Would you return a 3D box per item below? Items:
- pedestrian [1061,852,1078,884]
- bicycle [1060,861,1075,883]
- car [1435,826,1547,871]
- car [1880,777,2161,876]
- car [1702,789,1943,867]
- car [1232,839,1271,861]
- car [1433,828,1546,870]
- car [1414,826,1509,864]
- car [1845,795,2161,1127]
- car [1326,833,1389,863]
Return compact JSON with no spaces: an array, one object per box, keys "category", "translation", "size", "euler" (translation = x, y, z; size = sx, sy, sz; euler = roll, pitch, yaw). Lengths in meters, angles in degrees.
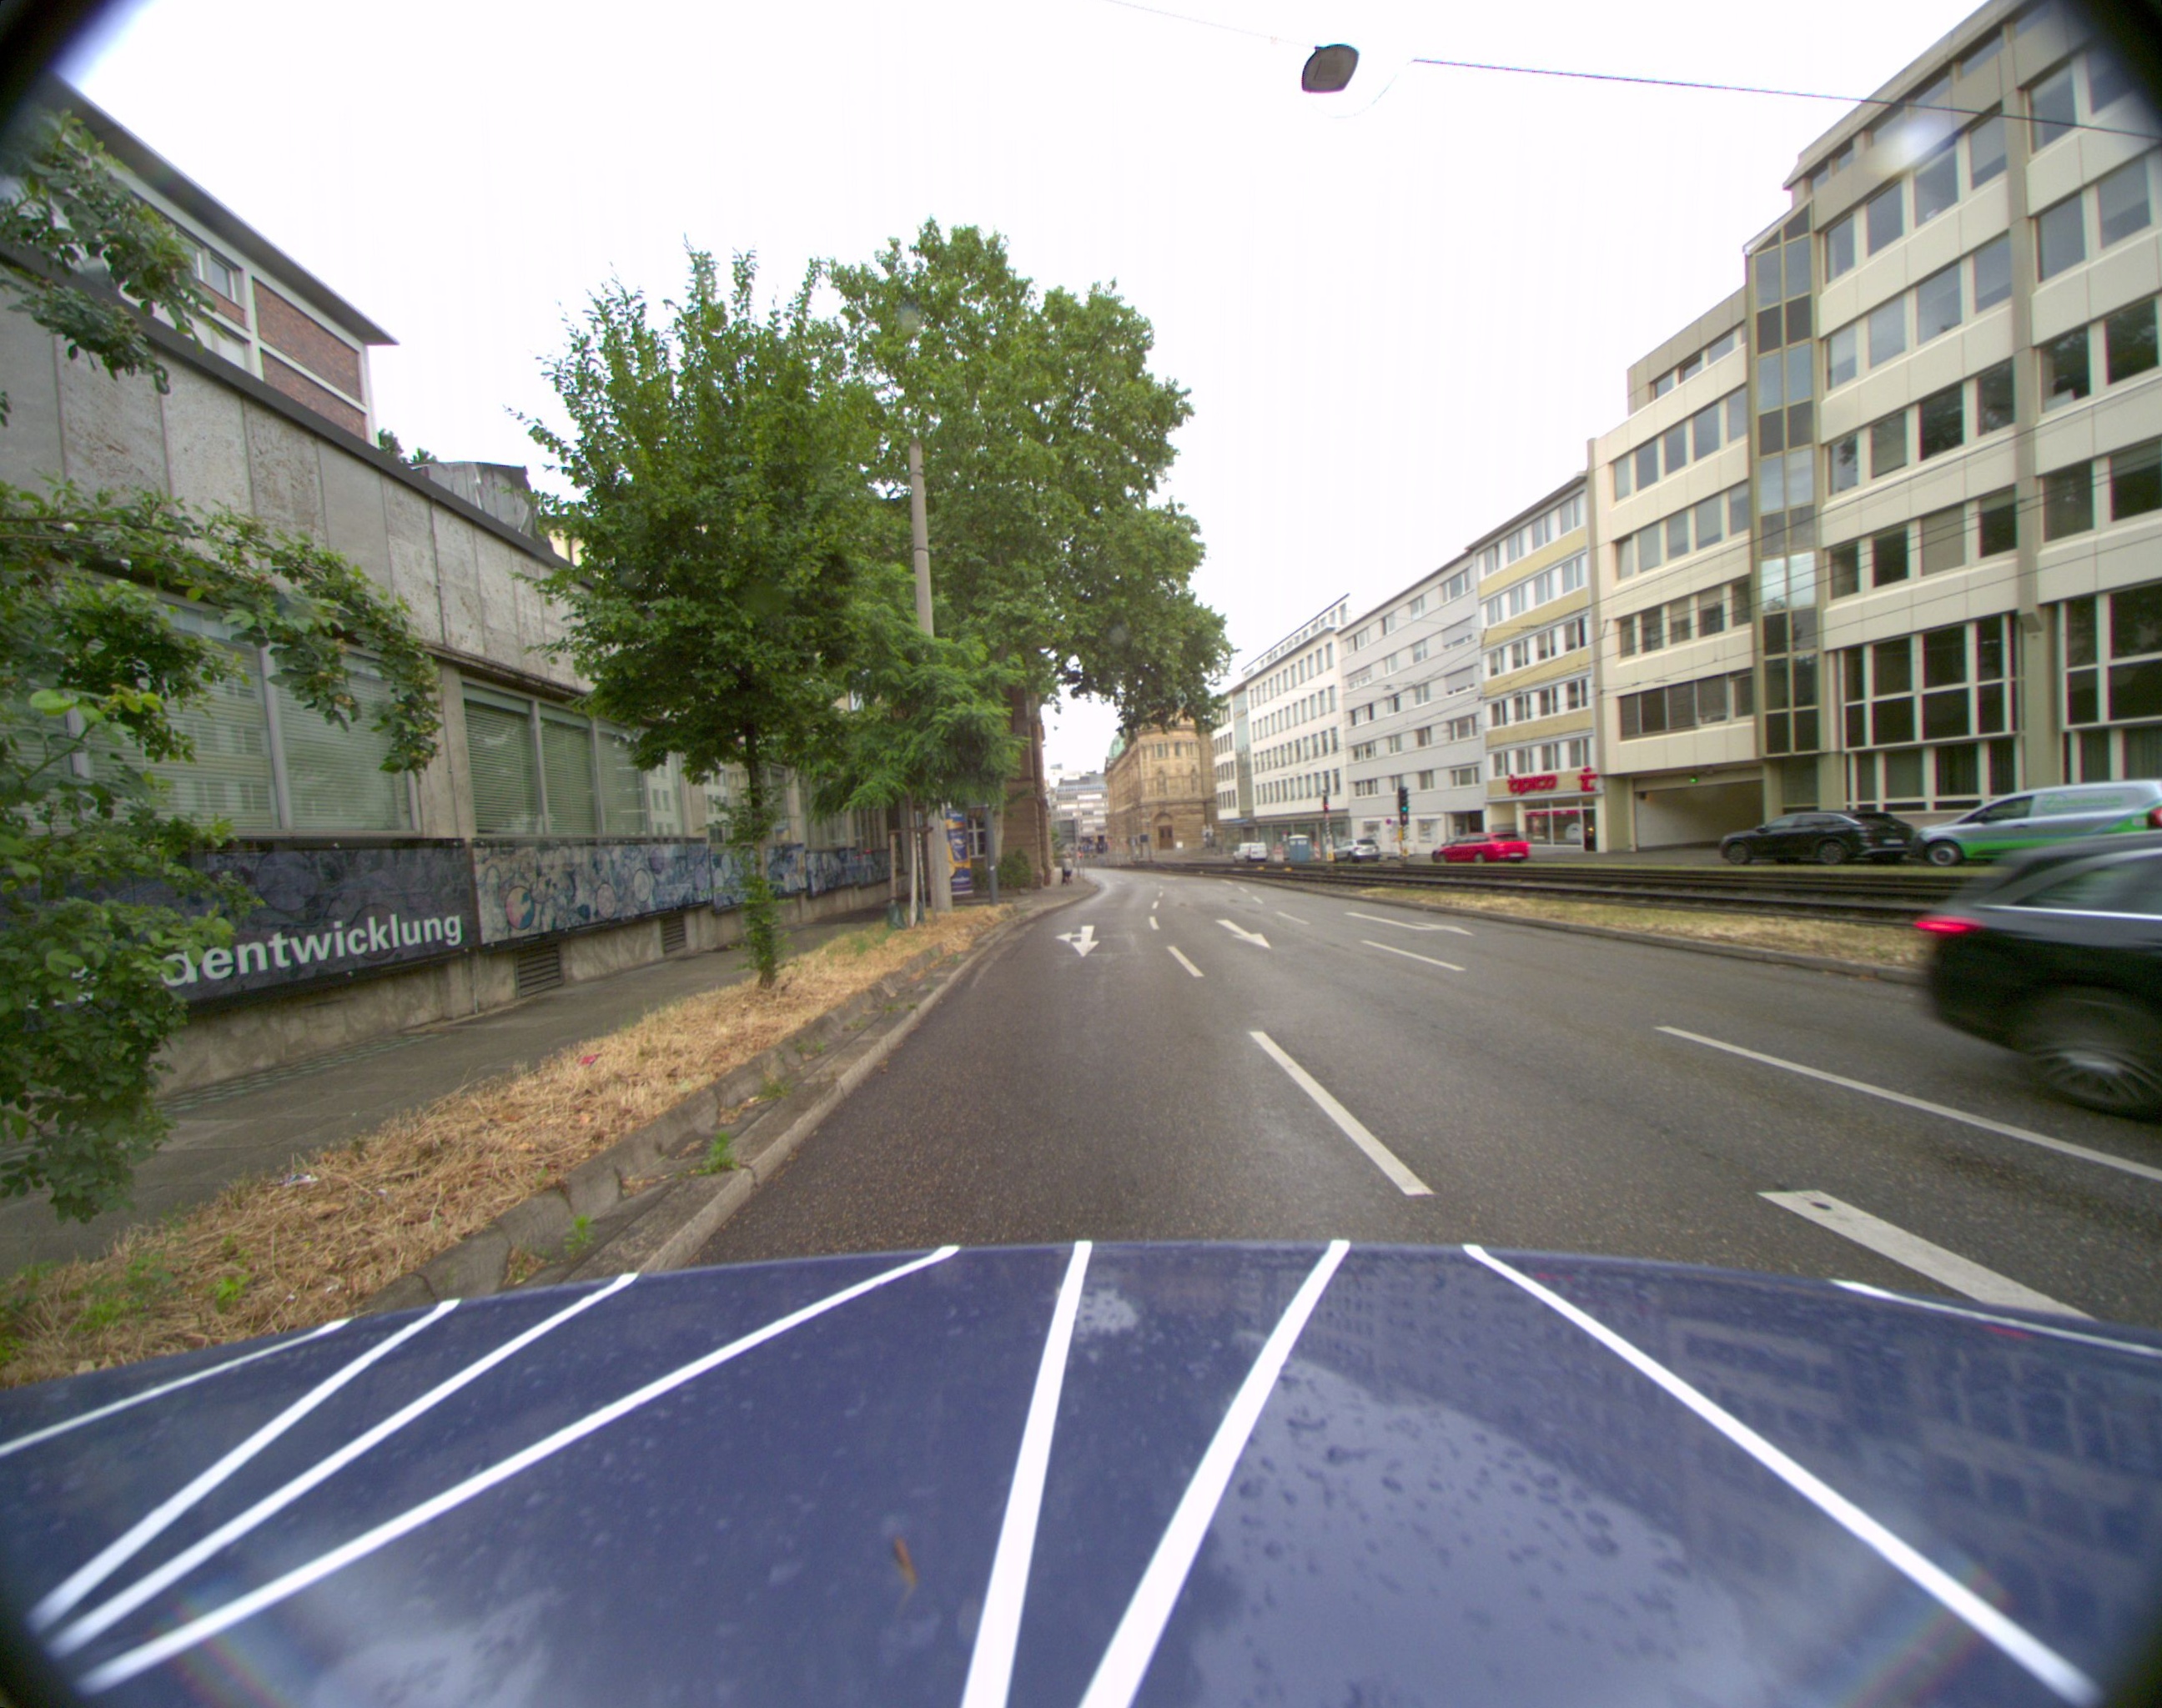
[{"category":"pedestrian","translation":[-0.648,0.787,43.084],"size":[0.719,1.732,1.020],"euler":[-1,1,11]},{"category":"bicycle","translation":[-0.799,1.045,44.116],"size":[0.620,1.213,0.911],"euler":[-2,1,12]},{"category":"car","translation":[17.266,-0.247,32.281],"size":[1.986,1.631,4.414],"euler":[-5,1,-5]},{"category":"car","translation":[21.515,-0.621,17.008],"size":[1.999,1.840,4.691],"euler":[-6,2,-7]},{"category":"car","translation":[21.096,-0.710,21.970],"size":[1.999,1.840,4.691],"euler":[-6,2,-7]},{"category":"car","translation":[16.387,-0.433,73.343],"size":[1.999,1.832,5.127],"euler":[-6,2,-7]},{"category":"car","translation":[17.212,-0.221,32.263],"size":[1.999,1.479,4.323],"euler":[-6,2,-7]},{"category":"car","translation":[19.456,-0.492,39.144],"size":[1.999,1.664,4.691],"euler":[-6,2,-7]},{"category":"car","translation":[5.887,0.436,2.467],"size":[1.999,1.458,4.642],"euler":[-5,0,-1]},{"category":"car","translation":[18.332,-0.357,50.613],"size":[1.999,1.664,4.694],"euler":[-6,0,-4]}]
